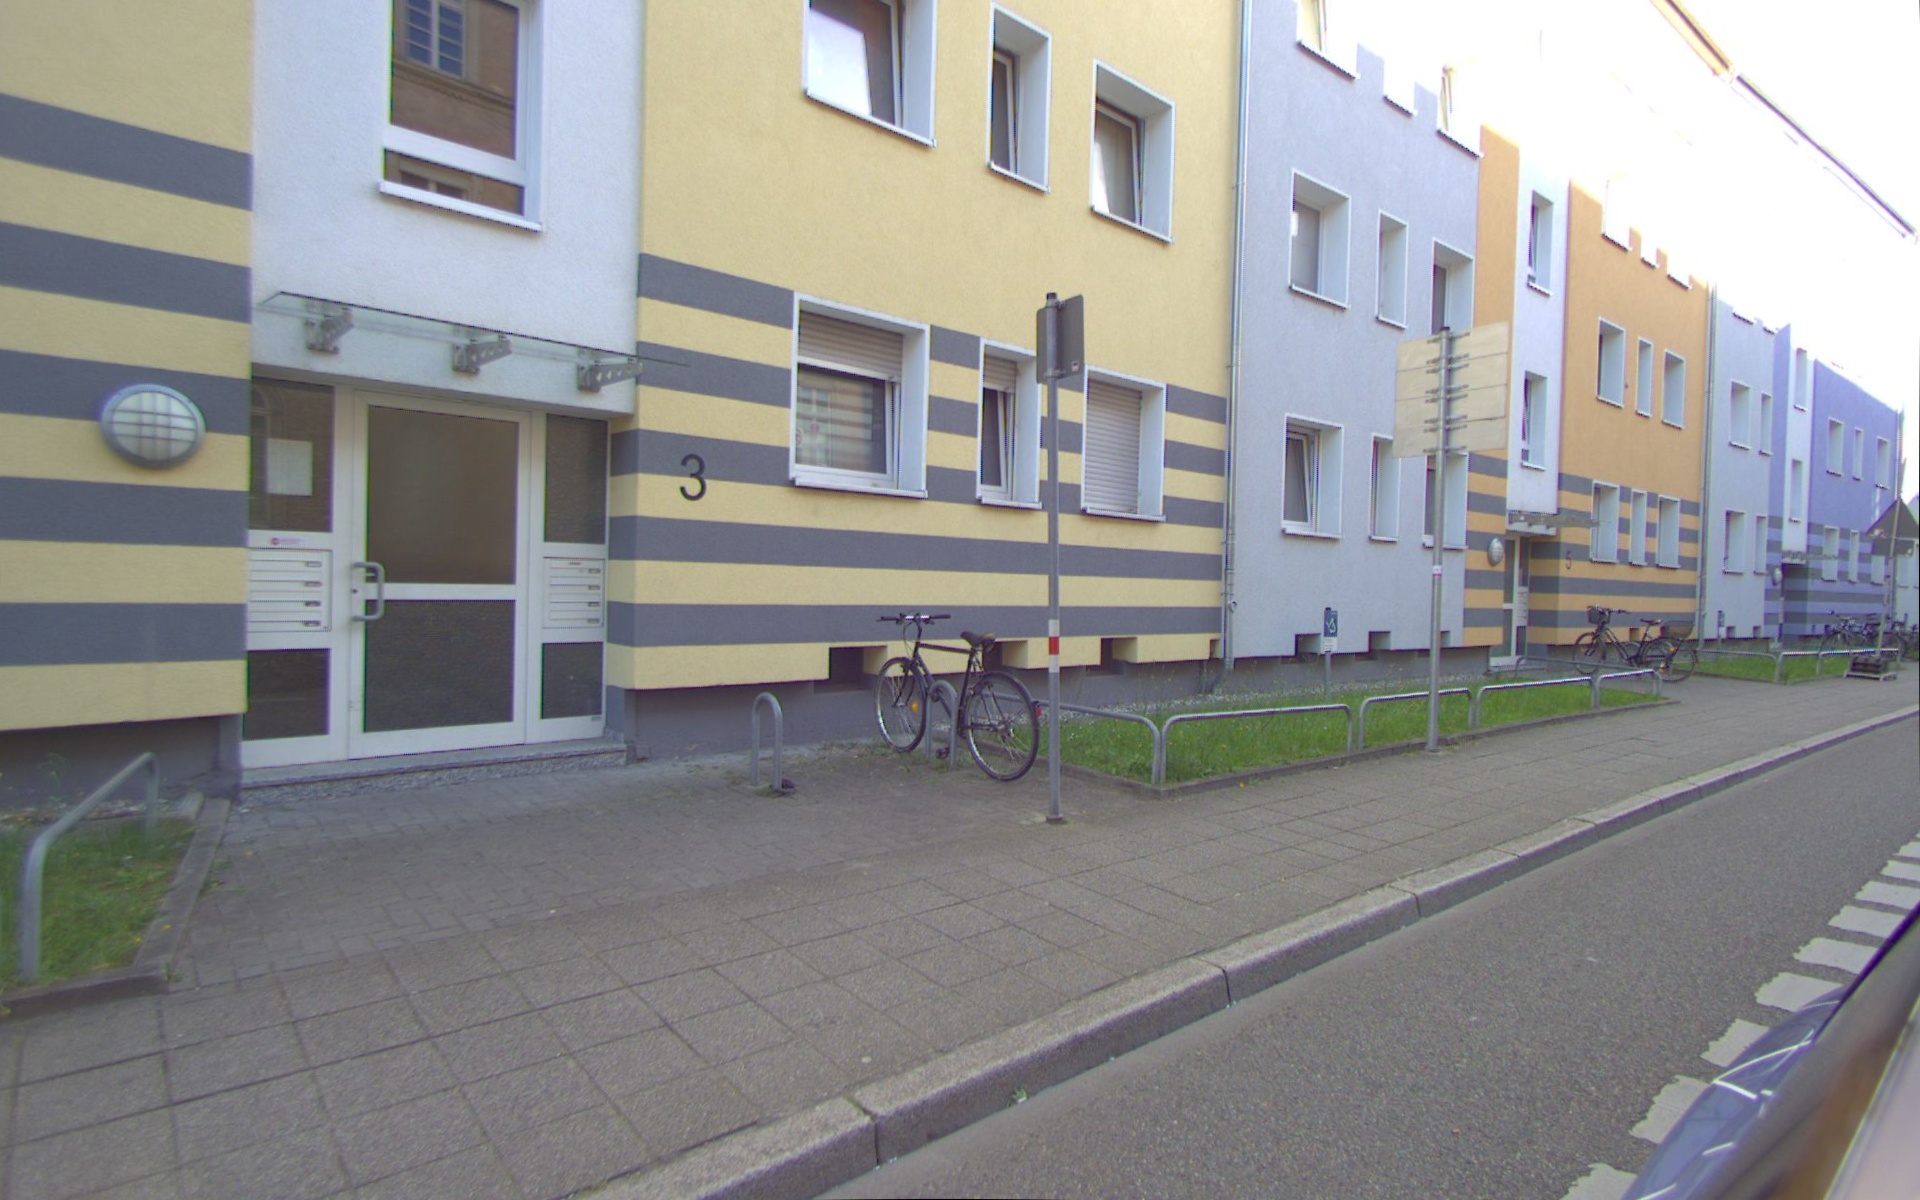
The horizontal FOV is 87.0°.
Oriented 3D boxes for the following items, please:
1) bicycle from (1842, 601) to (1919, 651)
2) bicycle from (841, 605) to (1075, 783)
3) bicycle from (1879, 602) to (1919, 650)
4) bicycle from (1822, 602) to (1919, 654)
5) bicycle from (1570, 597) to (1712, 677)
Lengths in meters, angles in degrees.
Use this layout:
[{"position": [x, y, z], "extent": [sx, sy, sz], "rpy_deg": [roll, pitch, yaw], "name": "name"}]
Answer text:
[{"position": [23.318, 0.642, 25.425], "extent": [0.475, 1.166, 1.678], "rpy_deg": [1, 1, -37], "name": "bicycle"}, {"position": [-0.064, 0.582, 7.022], "extent": [1.775, 1.031, 0.476], "rpy_deg": [3, 1, 44], "name": "bicycle"}, {"position": [24.145, 0.654, 25.282], "extent": [0.475, 1.166, 1.678], "rpy_deg": [1, 1, -37], "name": "bicycle"}, {"position": [22.236, 0.659, 24.733], "extent": [0.475, 1.166, 1.678], "rpy_deg": [1, 1, -37], "name": "bicycle"}, {"position": [10.698, 0.559, 15.950], "extent": [1.775, 1.137, 0.476], "rpy_deg": [3, 1, 44], "name": "bicycle"}]
